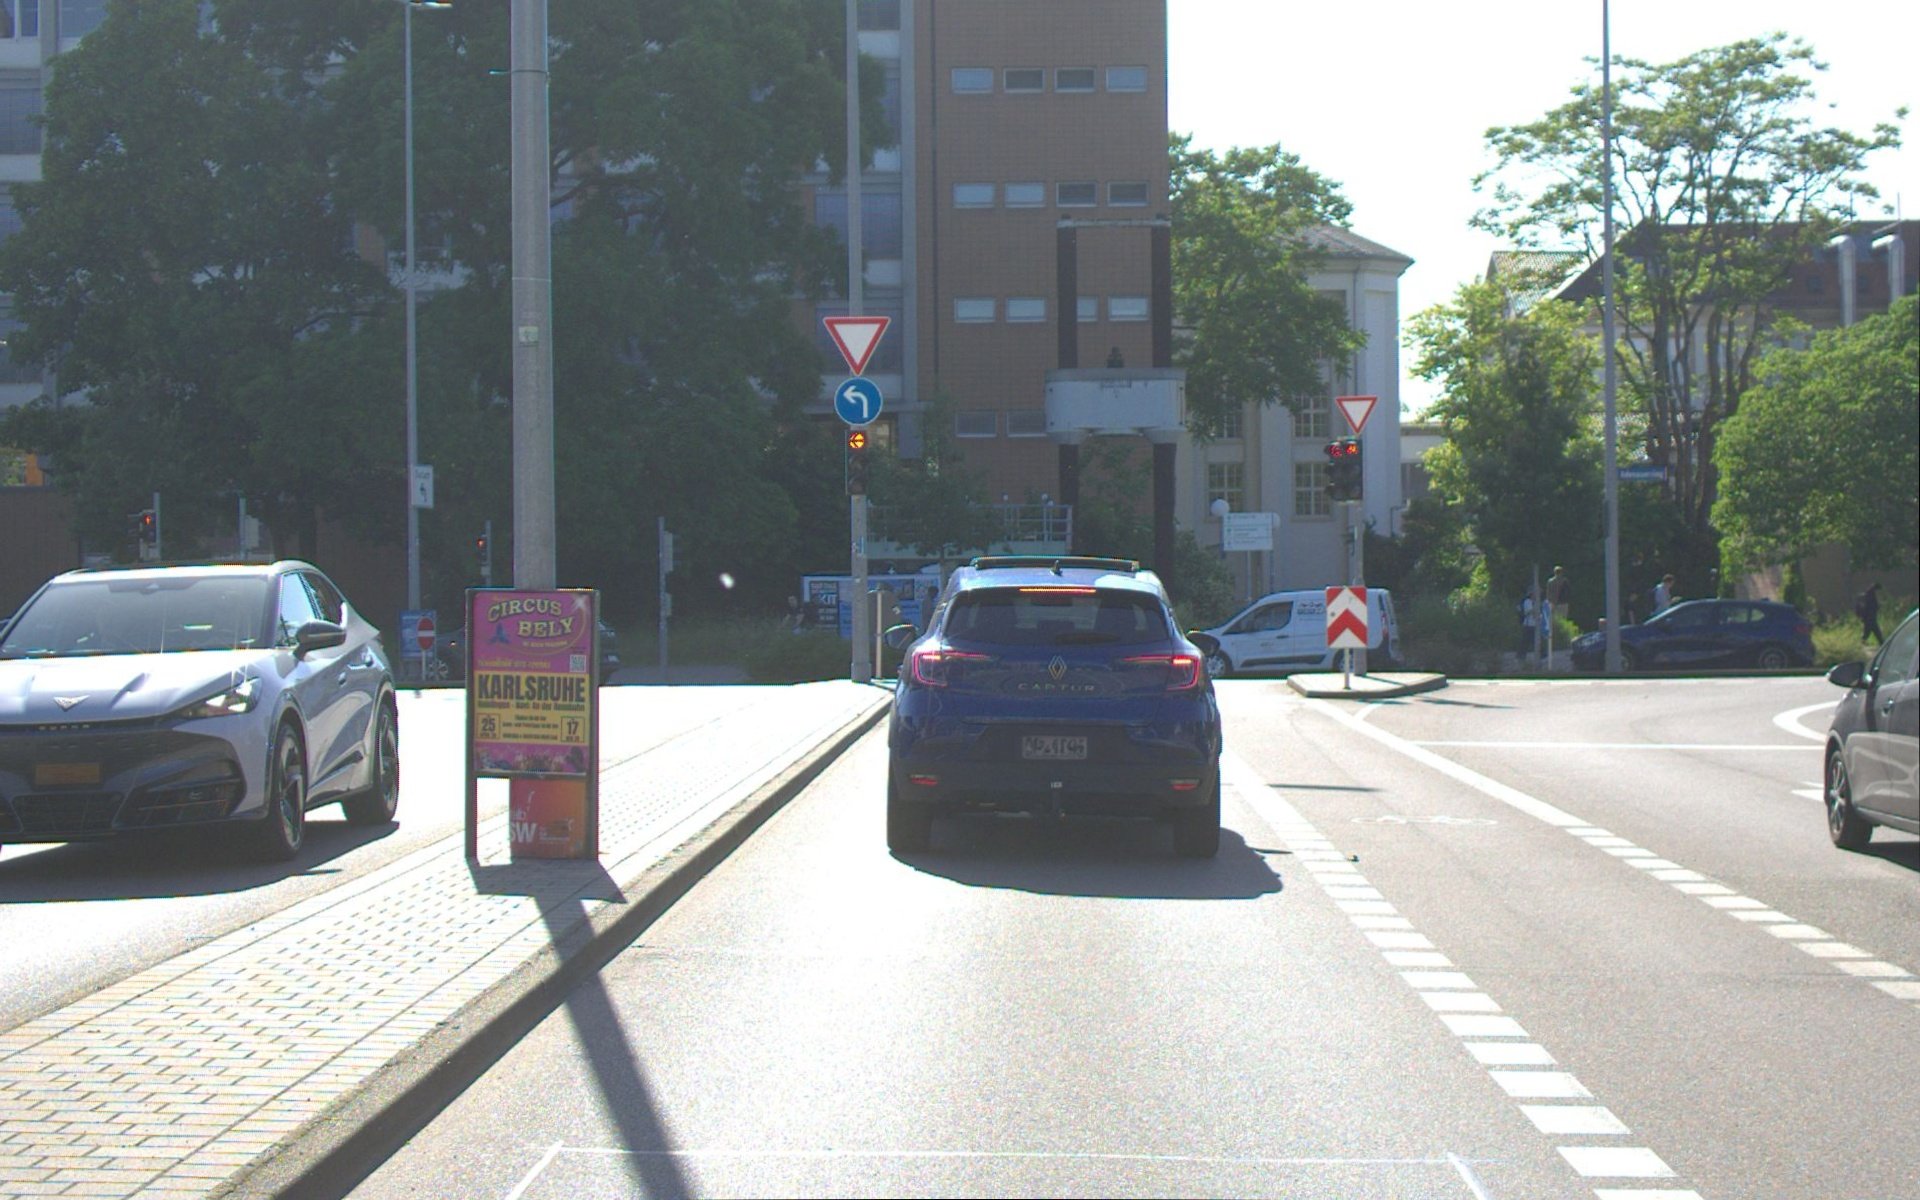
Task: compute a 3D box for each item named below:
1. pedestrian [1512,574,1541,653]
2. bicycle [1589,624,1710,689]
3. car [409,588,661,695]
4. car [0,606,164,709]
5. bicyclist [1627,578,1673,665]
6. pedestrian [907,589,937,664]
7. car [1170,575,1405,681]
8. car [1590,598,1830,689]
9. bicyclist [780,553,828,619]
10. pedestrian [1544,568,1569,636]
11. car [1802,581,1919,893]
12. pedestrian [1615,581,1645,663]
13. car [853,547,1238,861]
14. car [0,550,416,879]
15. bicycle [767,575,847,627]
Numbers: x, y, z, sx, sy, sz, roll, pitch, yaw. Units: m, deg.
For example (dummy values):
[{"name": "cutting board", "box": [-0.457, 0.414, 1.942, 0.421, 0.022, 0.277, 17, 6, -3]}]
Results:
[{"name": "pedestrian", "box": [11.983, 0.292, 72.706, 0.560, 1.664, 0.476, 0, -2, 17]}, {"name": "bicycle", "box": [14.652, 1.200, 73.059, 2.453, 1.366, 0.850, 0, -2, 18]}, {"name": "car", "box": [-8.130, 0.802, 65.944, 4.374, 2.007, 1.999, 0, -2, 11]}, {"name": "car", "box": [-18.360, 1.144, 68.048, 4.652, 2.007, 1.999, 0, -1, 9]}, {"name": "bicyclist", "box": [14.656, 0.467, 73.035, 0.857, 1.840, 0.850, 0, -2, 18]}, {"name": "pedestrian", "box": [-0.849, 0.602, 76.693, 0.560, 1.664, 0.476, 0, -2, 17]}, {"name": "car", "box": [6.368, 0.555, 66.609, 4.350, 2.007, 1.999, 0, -2, 11]}, {"name": "car", "box": [13.389, 0.784, 61.387, 4.117, 1.581, 1.878, 0, -1, 13]}, {"name": "bicyclist", "box": [-3.388, -0.304, 74.657, 0.816, 1.439, 0.620, 0, 0, -35]}, {"name": "pedestrian", "box": [14.642, 0.059, 84.396, 0.577, 1.664, 0.562, 0, -2, 12]}, {"name": "car", "box": [5.691, 0.699, 18.256, 1.756, 1.536, 3.658, 0, -1, 4]}, {"name": "pedestrian", "box": [13.733, 0.456, 70.501, 0.556, 1.664, 0.476, 0, -2, 17]}, {"name": "car", "box": [0.390, 0.546, 19.597, 1.823, 1.594, 3.659, 1, 0, -4]}, {"name": "car", "box": [-4.307, 0.551, 18.975, 1.818, 1.563, 4.250, -2, 0, 1]}, {"name": "bicycle", "box": [-3.319, 0.016, 74.707, 1.666, 1.089, 0.610, -1, 0, -35]}]
